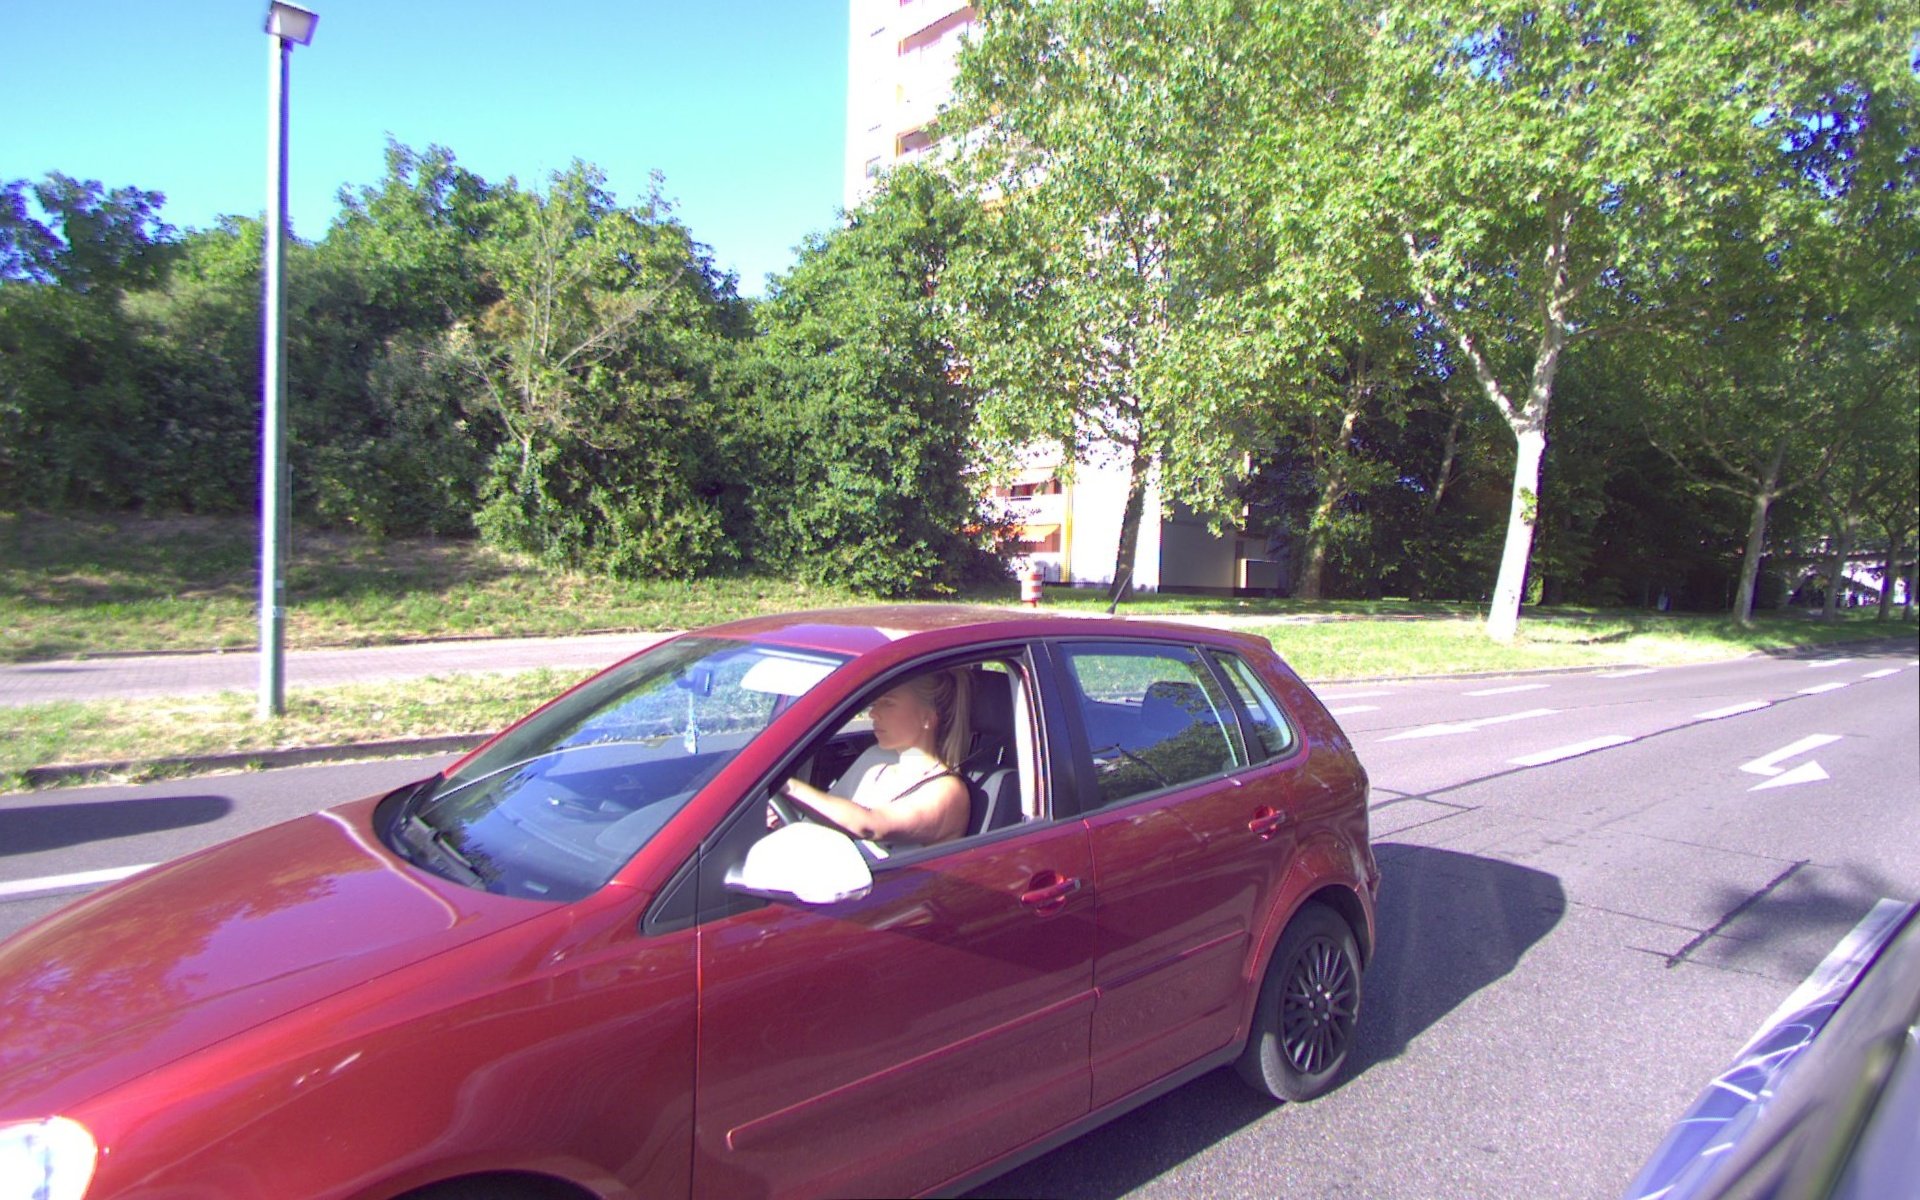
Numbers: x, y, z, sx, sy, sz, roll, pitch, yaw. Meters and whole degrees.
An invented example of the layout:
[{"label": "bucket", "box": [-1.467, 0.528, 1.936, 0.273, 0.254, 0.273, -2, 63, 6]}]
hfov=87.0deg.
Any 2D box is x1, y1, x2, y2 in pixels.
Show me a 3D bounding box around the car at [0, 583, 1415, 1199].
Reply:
[{"label": "car", "box": [-0.456, 0.693, 2.766, 3.627, 1.434, 1.626, 0, 1, -39]}]
